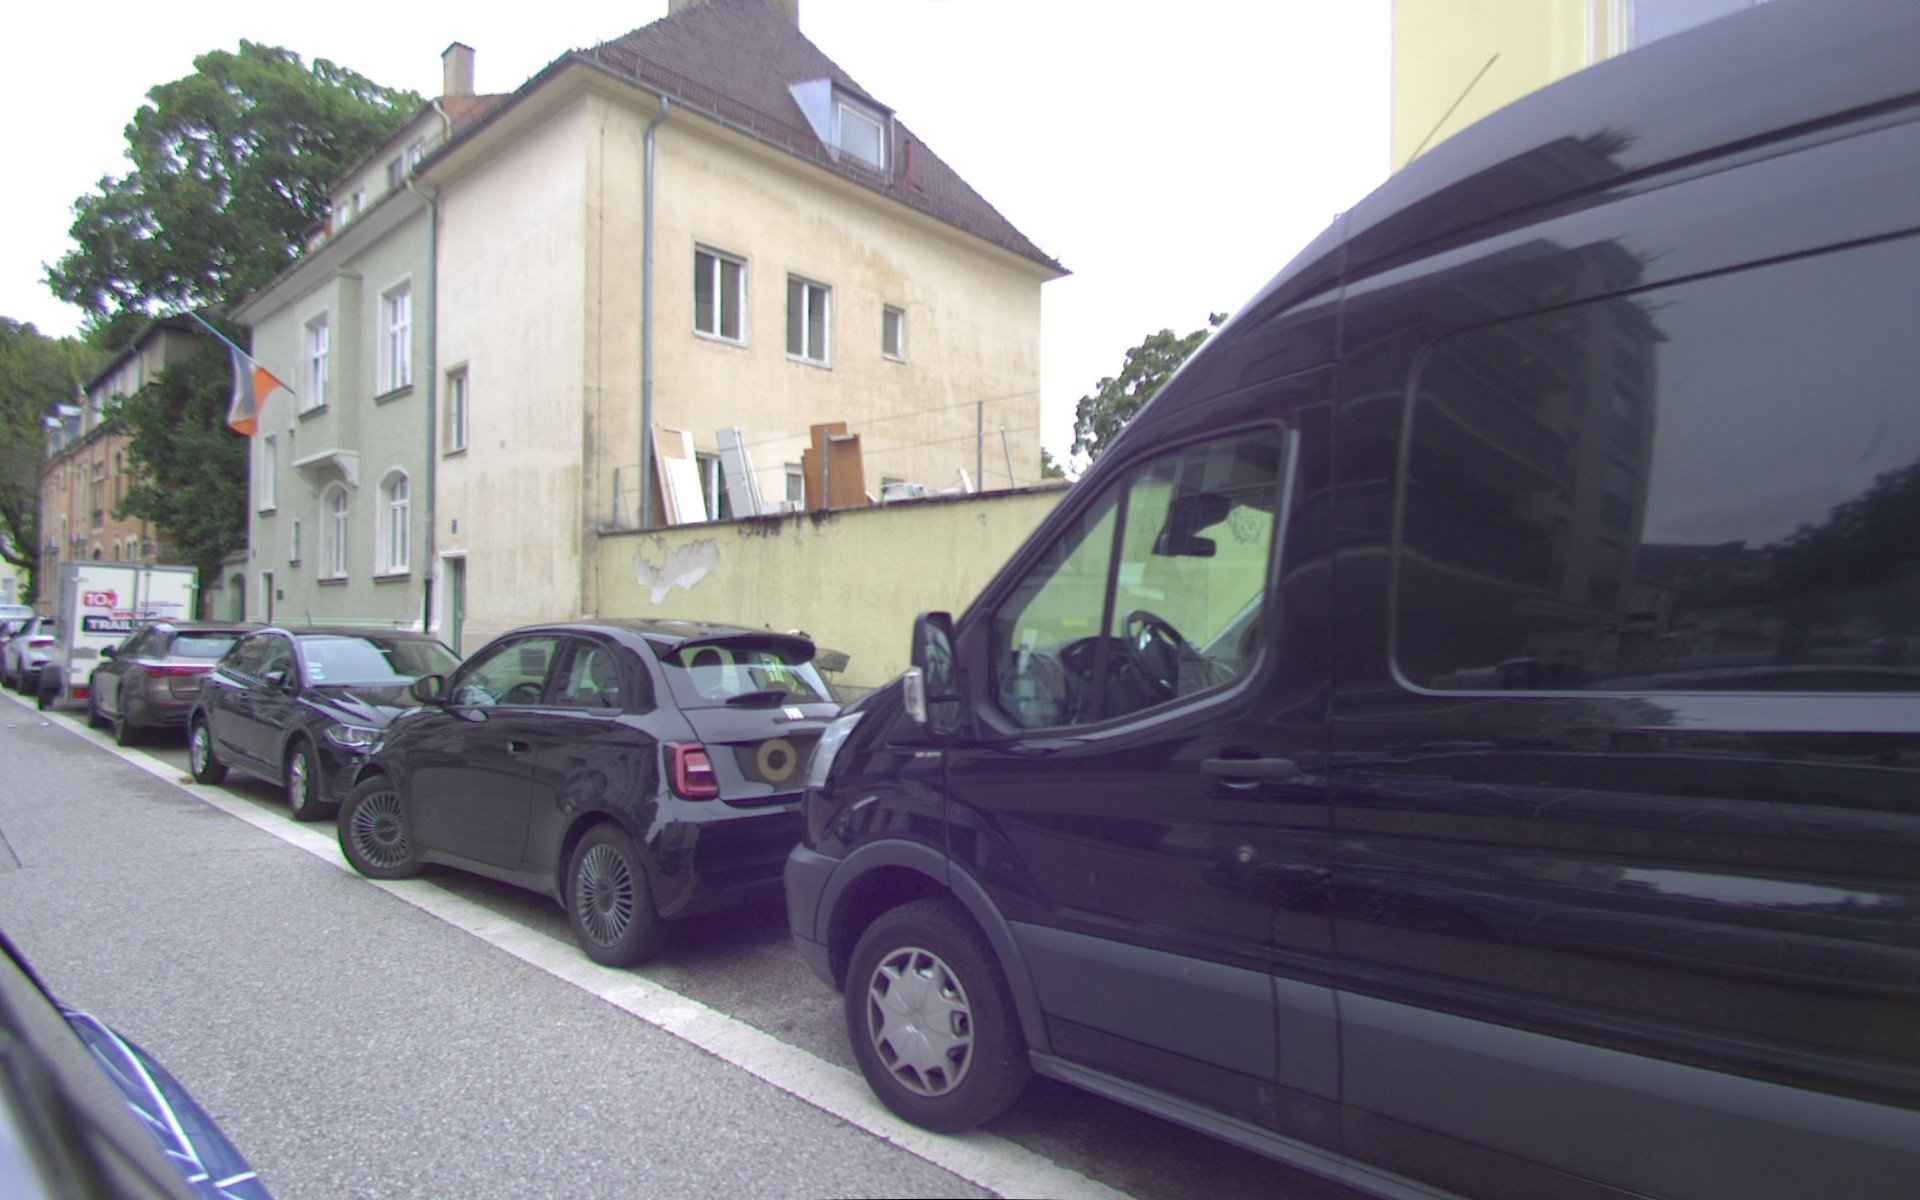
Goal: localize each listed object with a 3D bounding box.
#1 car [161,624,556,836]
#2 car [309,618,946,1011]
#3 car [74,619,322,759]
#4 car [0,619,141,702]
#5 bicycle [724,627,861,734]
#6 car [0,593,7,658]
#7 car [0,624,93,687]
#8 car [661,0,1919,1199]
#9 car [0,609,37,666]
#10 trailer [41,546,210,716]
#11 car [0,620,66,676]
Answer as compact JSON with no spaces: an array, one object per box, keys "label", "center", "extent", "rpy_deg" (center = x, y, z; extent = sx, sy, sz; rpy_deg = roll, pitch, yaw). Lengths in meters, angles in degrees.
[{"label":"car","center":[-5.434,0.955,8.944],"extent":[4.066,1.436,1.676],"rpy_deg":[-1,-2,39]},{"label":"car","center":[-1.959,0.858,5.636],"extent":[3.483,1.505,1.686],"rpy_deg":[-1,-1,37]},{"label":"car","center":[-10.060,1.020,13.216],"extent":[4.643,1.511,1.793],"rpy_deg":[-1,-2,43]},{"label":"car","center":[-18.256,1.169,20.673],"extent":[3.841,1.525,1.744],"rpy_deg":[-1,-2,42]},{"label":"bicycle","center":[-1.973,0.897,11.766],"extent":[1.741,1.140,0.573],"rpy_deg":[-1,-1,40]},{"label":"car","center":[-38.426,0.961,39.102],"extent":[4.550,2.451,2.076],"rpy_deg":[-1,-1,44]},{"label":"car","center":[-22.102,1.267,24.102],"extent":[3.746,1.357,1.793],"rpy_deg":[-1,-1,43]},{"label":"car","center":[1.777,0.195,2.609],"extent":[5.653,2.666,2.272],"rpy_deg":[-1,-3,43]},{"label":"car","center":[-30.802,1.173,32.156],"extent":[3.648,1.747,1.794],"rpy_deg":[-1,-1,42]},{"label":"trailer","center":[-14.147,0.551,17.101],"extent":[1.792,2.555,3.391],"rpy_deg":[6,-5,-43]},{"label":"car","center":[-26.393,1.281,28.117],"extent":[3.926,1.463,1.794],"rpy_deg":[-1,-1,41]}]
